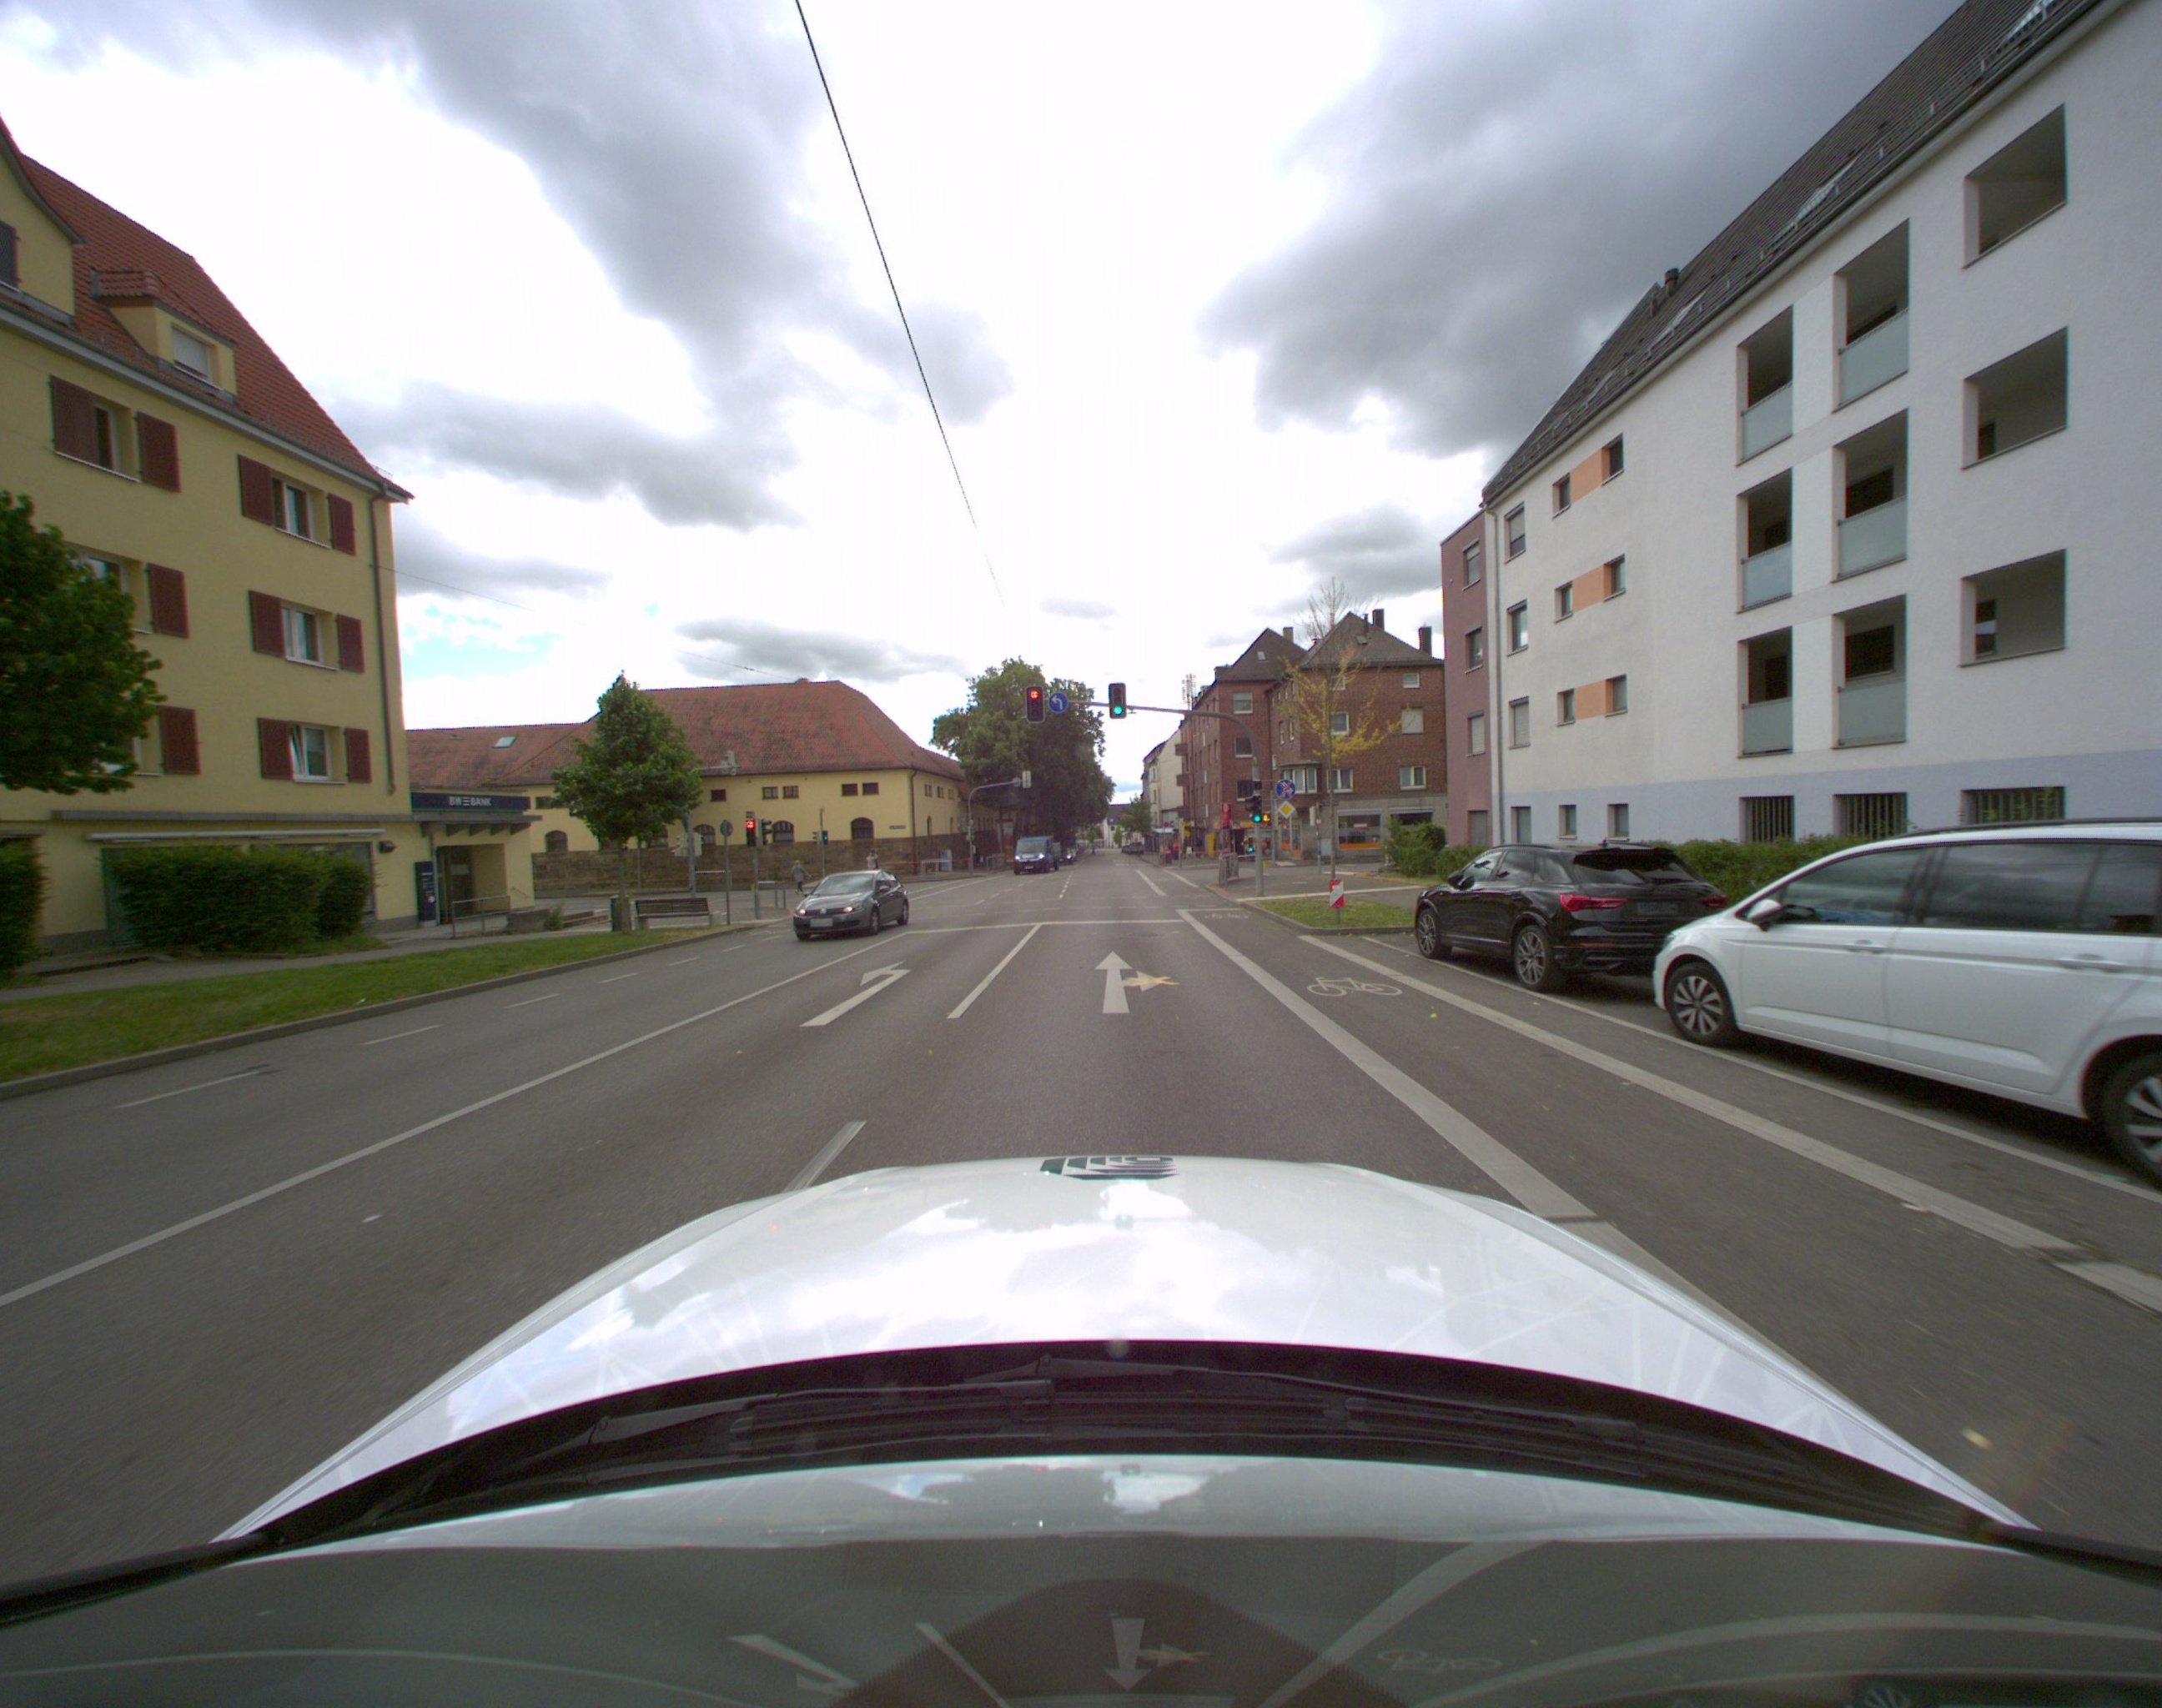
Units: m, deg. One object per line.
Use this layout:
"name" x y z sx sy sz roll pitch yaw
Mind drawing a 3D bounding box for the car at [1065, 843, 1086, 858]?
"car" -0.508 -0.314 79.030 1.678 1.275 4.099 -4 0 3

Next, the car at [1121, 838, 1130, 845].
"car" 9.417 -2.607 171.984 1.664 1.547 3.755 -2 1 -1

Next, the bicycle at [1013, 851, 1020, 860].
"bicycle" -8.331 0.200 104.514 0.594 1.091 2.197 0 1 3

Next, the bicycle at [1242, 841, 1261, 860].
"bicycle" 10.983 -0.258 52.649 0.757 1.193 2.392 -2 1 2

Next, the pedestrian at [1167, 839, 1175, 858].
"pedestrian" 8.138 -0.525 73.620 0.666 1.727 0.765 -2 0 7

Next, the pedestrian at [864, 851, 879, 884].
"pedestrian" -11.412 0.732 44.462 0.562 1.777 0.717 -2 0 1

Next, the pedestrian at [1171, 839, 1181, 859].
"pedestrian" 7.727 -0.426 66.085 0.560 1.636 0.684 -2 0 21

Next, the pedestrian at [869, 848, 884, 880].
"pedestrian" -11.363 0.555 45.272 0.562 1.777 0.842 -2 0 1

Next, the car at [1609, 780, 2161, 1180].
"car" 5.468 0.521 4.905 1.653 1.715 4.551 -1 1 0

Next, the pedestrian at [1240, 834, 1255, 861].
"pedestrian" 10.820 -0.417 52.937 0.785 1.656 0.772 -4 0 2

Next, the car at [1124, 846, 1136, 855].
"car" 8.501 -0.597 141.934 1.664 1.547 3.755 -2 1 -1

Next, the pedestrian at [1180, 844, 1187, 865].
"pedestrian" 8.838 0.047 70.066 0.477 1.765 0.458 -2 0 1

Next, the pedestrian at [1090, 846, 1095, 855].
"pedestrian" 1.937 -0.609 137.135 0.675 1.536 0.606 -2 0 -24

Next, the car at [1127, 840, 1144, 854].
"car" 7.924 -0.974 118.459 1.988 1.935 4.916 -2 1 -1

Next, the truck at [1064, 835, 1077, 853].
"truck" -1.938 -1.857 154.894 2.223 3.346 7.451 -3 1 1

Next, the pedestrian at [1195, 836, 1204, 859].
"pedestrian" 9.200 -0.534 63.268 0.644 1.750 0.779 -2 0 7

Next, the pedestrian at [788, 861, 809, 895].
"pedestrian" -13.397 1.115 38.657 0.561 1.566 0.844 -2 0 7

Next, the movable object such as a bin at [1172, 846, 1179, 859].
"movable object such as a bin" 7.681 -0.121 65.885 0.449 1.056 0.412 -2 0 21

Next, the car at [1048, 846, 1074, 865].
"car" -1.632 0.121 66.488 1.695 1.414 4.196 -3 1 3

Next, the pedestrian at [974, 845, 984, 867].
"pedestrian" -8.454 0.172 67.326 0.672 1.765 0.726 -2 0 1

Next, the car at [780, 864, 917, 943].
"car" -5.325 1.063 19.280 1.749 1.472 4.310 -3 1 3

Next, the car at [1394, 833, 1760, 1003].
"car" 5.585 0.611 10.013 1.729 1.588 4.572 -1 0 0

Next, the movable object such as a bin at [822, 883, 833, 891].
"movable object such as a bin" -12.364 1.600 39.720 0.305 0.347 0.582 -2 1 7

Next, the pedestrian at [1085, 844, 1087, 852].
"pedestrian" 1.326 -1.537 217.831 0.631 2.013 0.785 -2 0 3

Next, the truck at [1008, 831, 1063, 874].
"truck" -2.764 -0.165 51.394 2.284 2.427 6.422 -3 1 6
